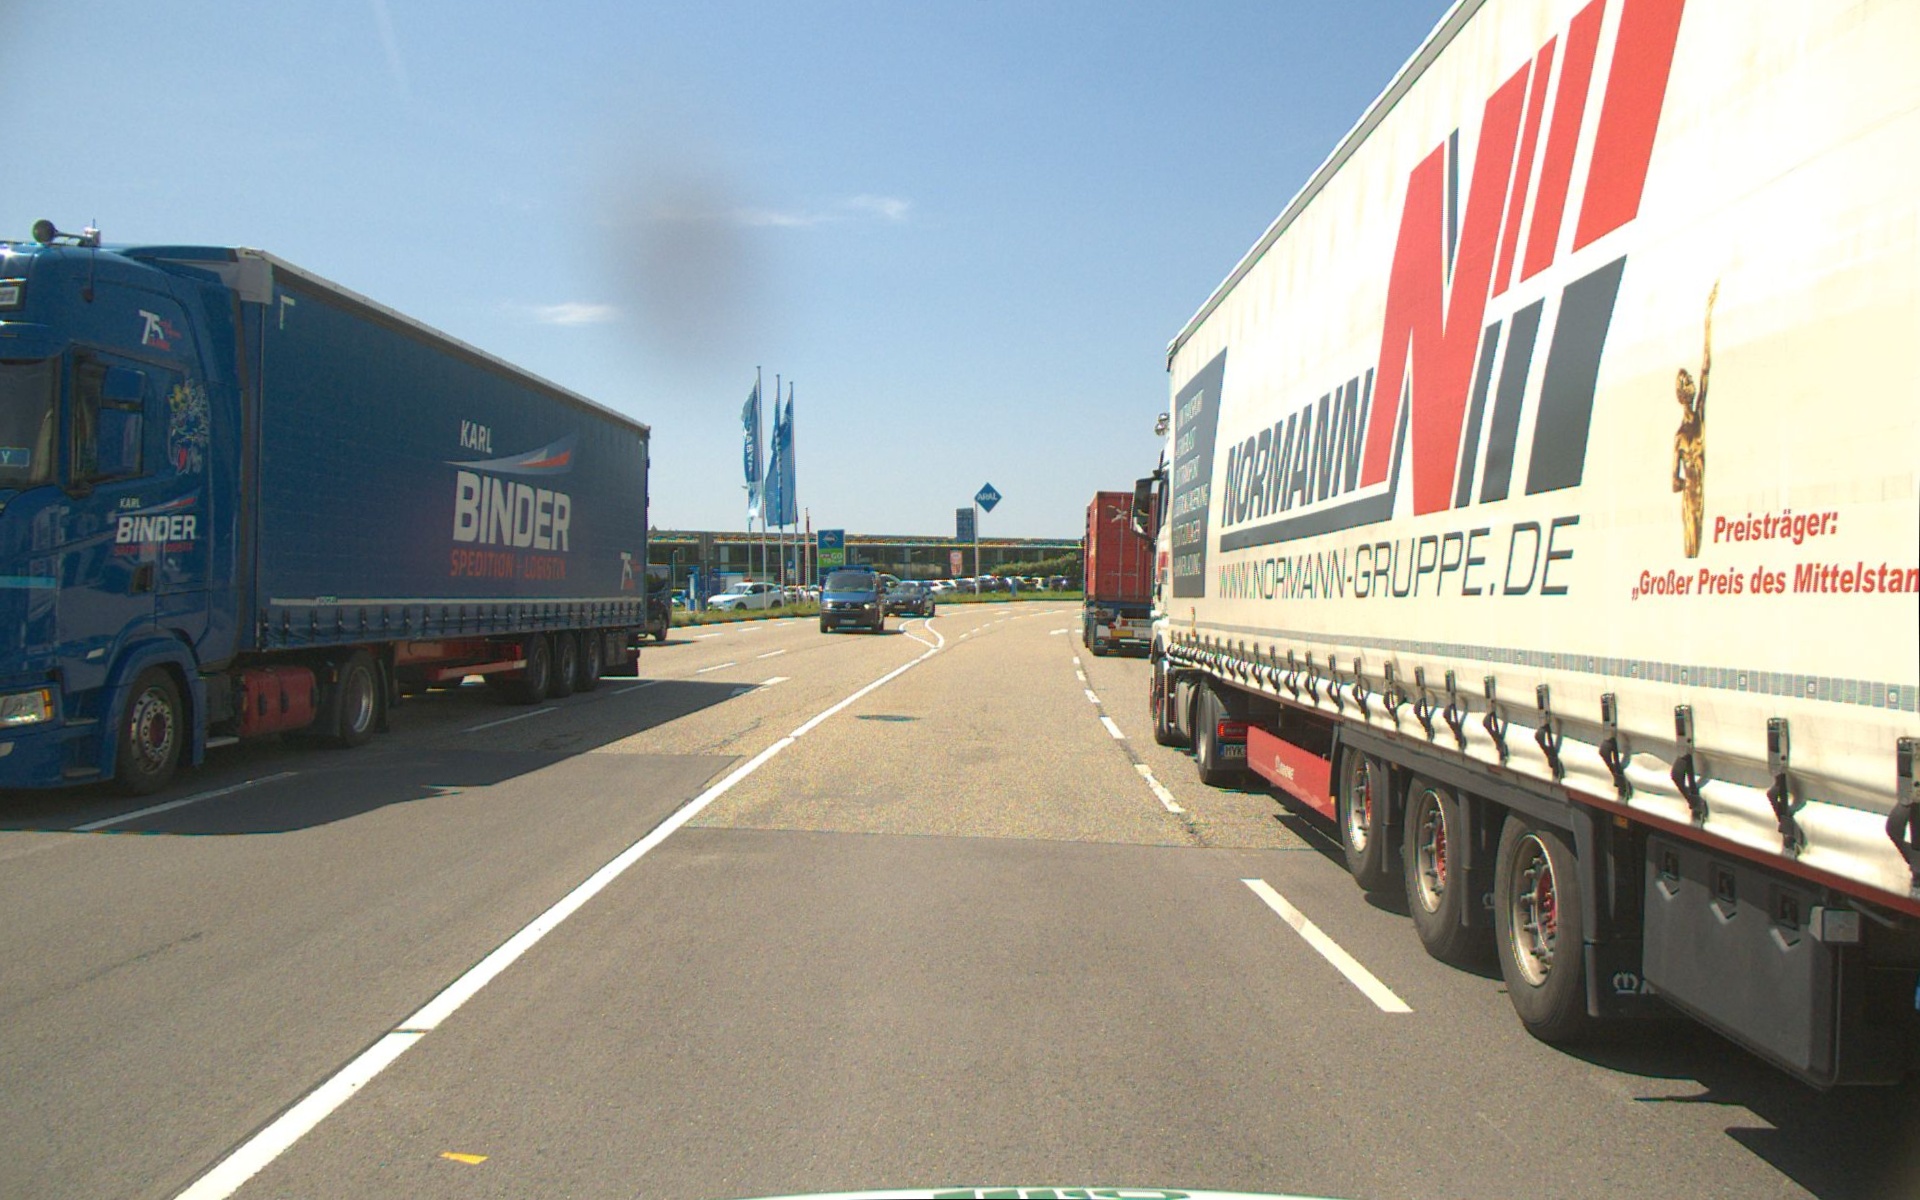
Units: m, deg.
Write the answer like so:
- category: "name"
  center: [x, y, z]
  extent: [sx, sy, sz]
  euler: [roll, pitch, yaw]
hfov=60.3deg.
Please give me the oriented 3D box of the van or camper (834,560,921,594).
- category: "van or camper"
  center: [-4.723, -1.310, 95.299]
  extent: [4.744, 1.938, 1.906]
  euler: [0, 0, 6]

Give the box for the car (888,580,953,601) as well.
- category: "car"
  center: [-2.762, -0.667, 115.667]
  extent: [4.158, 1.383, 1.996]
  euler: [0, 1, 31]

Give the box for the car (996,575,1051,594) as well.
- category: "car"
  center: [4.988, -1.202, 130.005]
  extent: [3.912, 1.340, 1.830]
  euler: [-1, 1, 30]

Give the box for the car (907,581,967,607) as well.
- category: "car"
  center: [-1.663, -0.427, 118.716]
  extent: [3.915, 1.780, 1.930]
  euler: [0, 0, 33]

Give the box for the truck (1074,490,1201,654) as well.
- category: "truck"
  center: [4.671, -0.719, 45.961]
  extent: [2.592, 3.873, 13.364]
  euler: [-1, 0, 2]

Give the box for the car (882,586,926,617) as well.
- category: "car"
  center: [-2.399, 0.036, 71.966]
  extent: [1.811, 1.293, 4.176]
  euler: [-1, 0, -1]

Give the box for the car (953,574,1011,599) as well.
- category: "car"
  center: [1.622, -0.999, 122.656]
  extent: [3.915, 1.780, 1.995]
  euler: [0, 0, 33]

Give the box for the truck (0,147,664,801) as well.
- category: "truck"
  center: [-6.593, -0.767, 18.546]
  extent: [2.785, 3.957, 17.011]
  euler: [0, 0, 2]

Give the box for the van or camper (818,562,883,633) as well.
- category: "van or camper"
  center: [-3.521, -0.122, 53.906]
  extent: [1.799, 2.175, 5.342]
  euler: [0, 1, -1]

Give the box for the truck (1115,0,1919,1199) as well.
- category: "truck"
  center: [3.265, -0.628, 11.324]
  extent: [2.912, 4.165, 17.636]
  euler: [0, 0, 1]

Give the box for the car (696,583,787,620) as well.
- category: "car"
  center: [-10.629, 0.072, 80.824]
  extent: [1.831, 1.742, 4.501]
  euler: [0, 0, 36]
